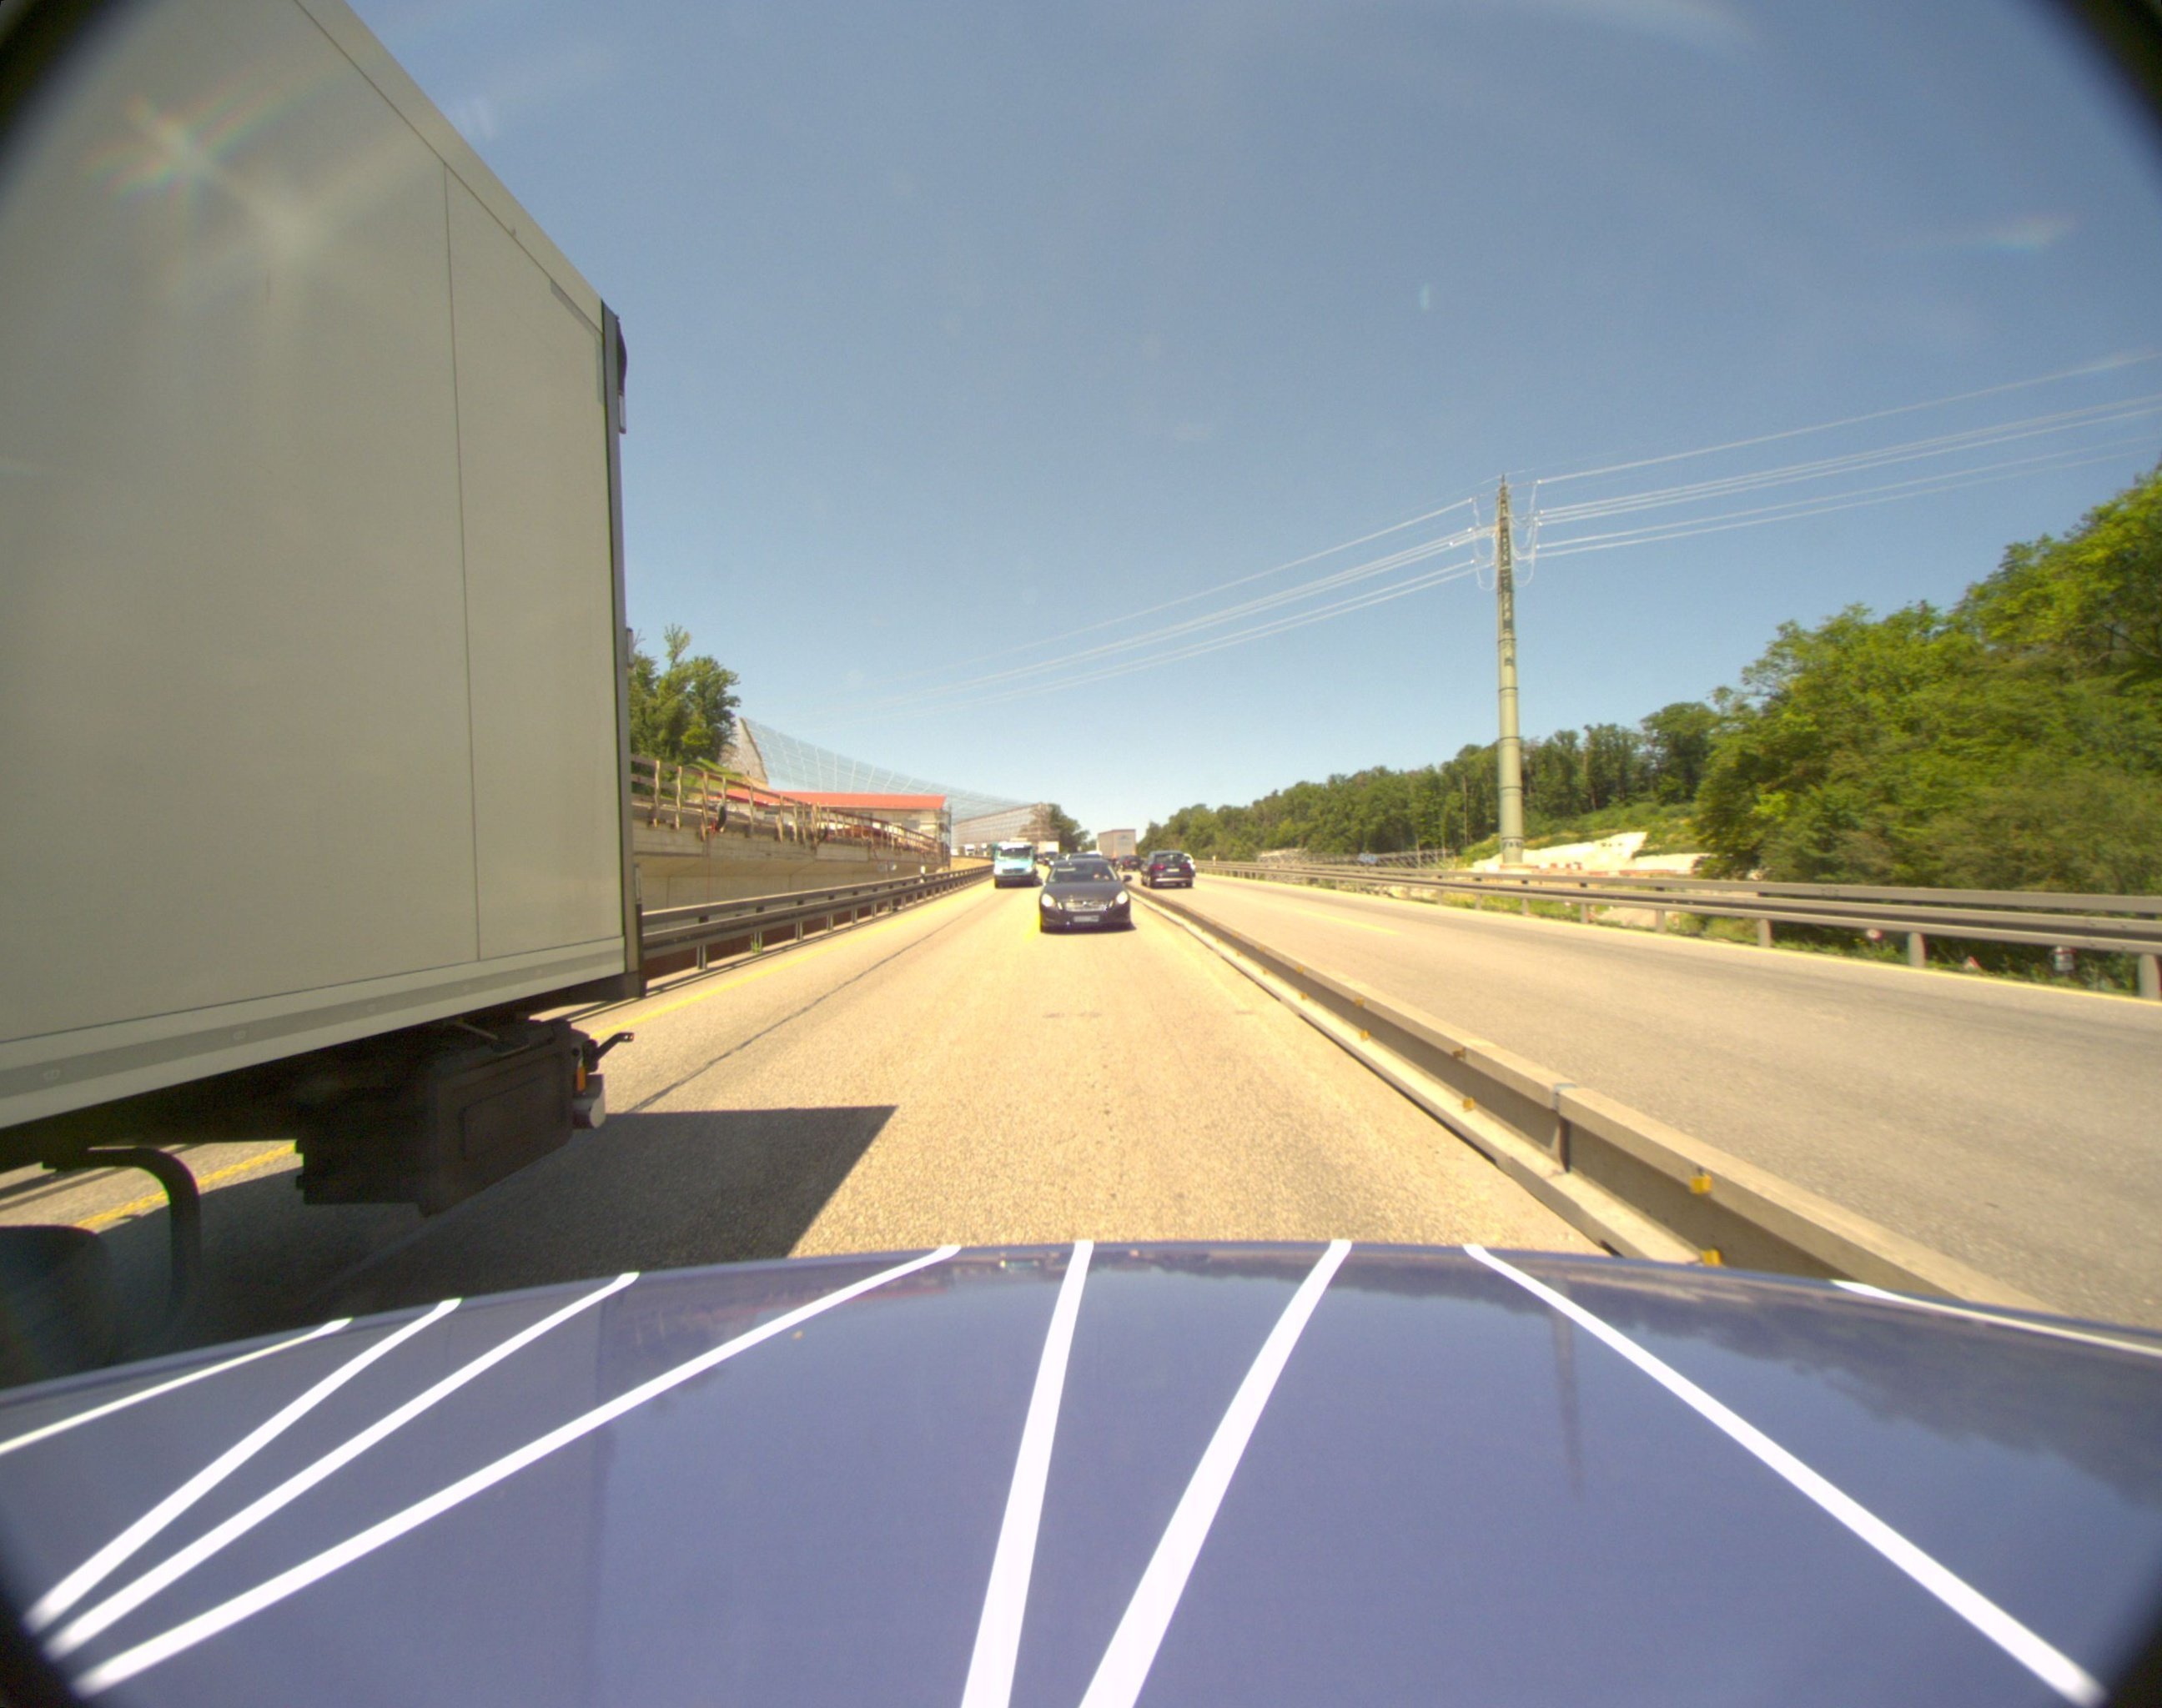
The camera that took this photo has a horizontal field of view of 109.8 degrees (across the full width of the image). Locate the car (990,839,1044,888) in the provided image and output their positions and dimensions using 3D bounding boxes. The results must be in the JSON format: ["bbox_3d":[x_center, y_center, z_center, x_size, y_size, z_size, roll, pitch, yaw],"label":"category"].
[{"bbox_3d":[-3.230,0.413,39.849,2.217,2.312,6.901,-2,1,0],"label":"car"}]

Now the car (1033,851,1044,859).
[{"bbox_3d":[-7.450,0.143,132.337,1.647,1.366,3.342,-3,1,-6],"label":"car"}]

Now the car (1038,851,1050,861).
[{"bbox_3d":[-5.395,0.285,112.423,1.647,1.366,3.344,-3,1,-1],"label":"car"}]

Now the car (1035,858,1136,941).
[{"bbox_3d":[0.087,0.869,16.464,1.844,1.475,4.562,-2,0,0],"label":"car"}]

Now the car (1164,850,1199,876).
[{"bbox_3d":[6.318,0.533,48.166,1.704,1.484,3.999,-1,1,0],"label":"car"}]

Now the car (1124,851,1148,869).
[{"bbox_3d":[4.709,0.474,65.871,1.781,1.420,4.302,-1,1,0],"label":"car"}]

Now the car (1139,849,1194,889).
[{"bbox_3d":[3.710,0.623,33.822,1.922,1.586,4.527,-2,1,0],"label":"car"}]

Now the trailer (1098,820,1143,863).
[{"bbox_3d":[4.389,-1.357,87.314,3.499,4.461,12.920,-3,1,-4],"label":"trailer"}]

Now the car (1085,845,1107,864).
[{"bbox_3d":[1.493,0.023,76.791,1.865,1.762,4.231,-3,1,-2],"label":"car"}]

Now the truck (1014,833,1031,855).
[{"bbox_3d":[-9.549,-1.627,124.086,2.471,3.464,9.863,-3,1,-5],"label":"truck"}]

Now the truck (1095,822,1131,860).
[{"bbox_3d":[3.900,-1.590,94.103,3.406,4.396,7.271,-3,1,-4],"label":"truck"}]

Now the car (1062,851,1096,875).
[{"bbox_3d":[-0.185,0.619,55.313,2.297,1.601,4.664,-3,1,-1],"label":"car"}]

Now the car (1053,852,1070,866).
[{"bbox_3d":[-2.151,0.496,82.053,1.647,1.366,3.343,-3,1,-3],"label":"car"}]

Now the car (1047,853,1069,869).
[{"bbox_3d":[-2.095,0.641,69.779,1.646,1.366,3.345,-3,1,3],"label":"car"}]

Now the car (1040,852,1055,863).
[{"bbox_3d":[-4.265,0.414,97.124,1.647,1.366,3.342,-3,1,-6],"label":"car"}]

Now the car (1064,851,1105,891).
[{"bbox_3d":[0.213,0.677,32.977,1.519,1.543,3.861,-2,1,3],"label":"car"}]

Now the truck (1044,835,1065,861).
[{"bbox_3d":[-6.175,-1.392,172.427,3.567,5.334,16.083,-3,1,-5],"label":"truck"}]
